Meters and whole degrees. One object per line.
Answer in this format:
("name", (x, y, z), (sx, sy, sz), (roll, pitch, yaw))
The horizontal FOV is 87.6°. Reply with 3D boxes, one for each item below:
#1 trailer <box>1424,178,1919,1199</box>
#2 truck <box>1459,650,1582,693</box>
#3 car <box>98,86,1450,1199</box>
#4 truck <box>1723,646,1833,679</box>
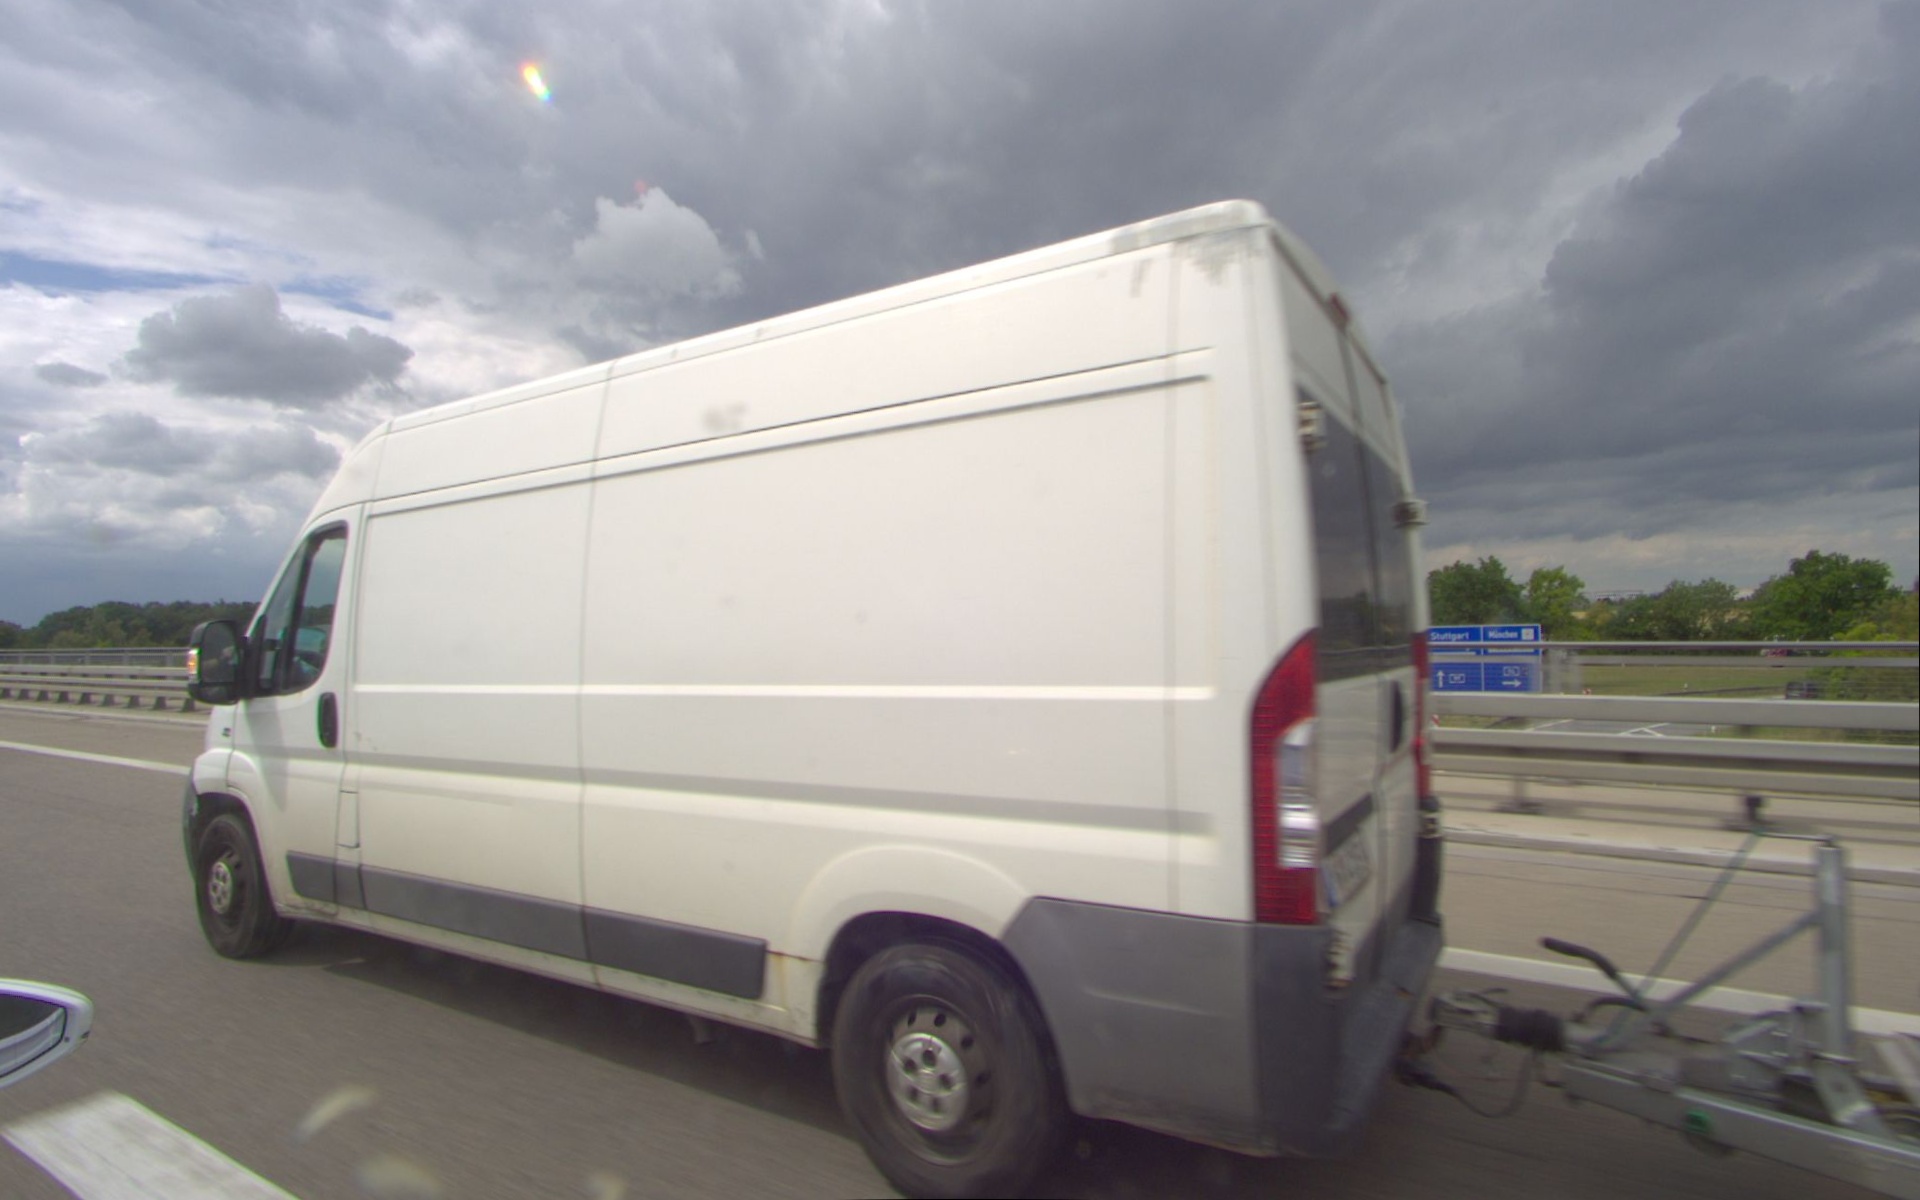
("trailer", (3.309, 0.360, 1.509), (4.564, 2.039, 1.852), (-1, -2, 32))
("truck", (74.822, 9.417, 134.362), (3.803, 5.281, 14.798), (1, -2, -27))
("car", (-1.287, 0.318, 4.450), (6.062, 2.485, 2.111), (-1, -2, 32))
("truck", (91.174, 6.888, 111.791), (3.299, 3.410, 8.968), (1, -2, -35))
